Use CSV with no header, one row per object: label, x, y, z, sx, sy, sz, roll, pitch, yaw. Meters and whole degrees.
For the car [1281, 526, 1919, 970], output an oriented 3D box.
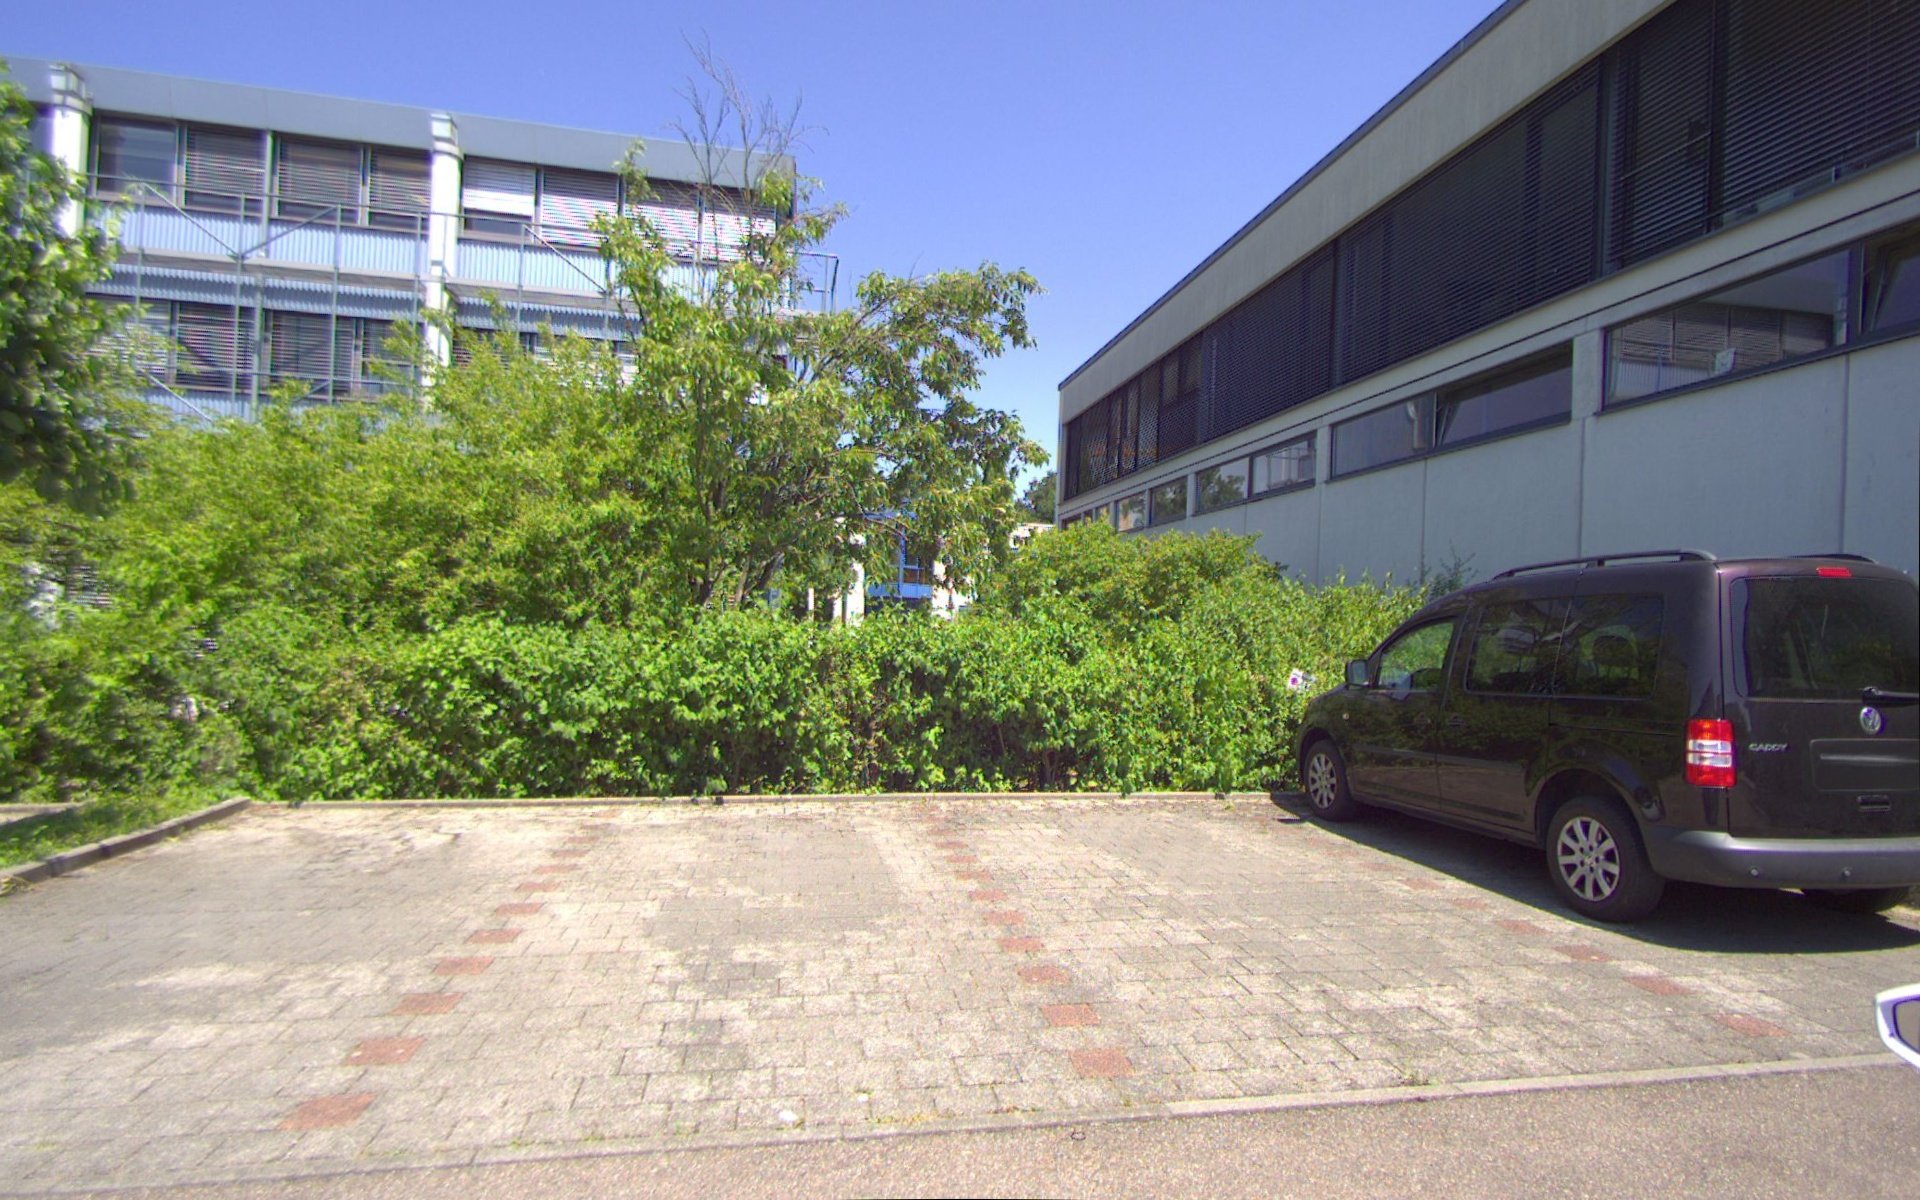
car,3.811,0.681,6.467,1.648,1.909,4.065,1,-1,-9
